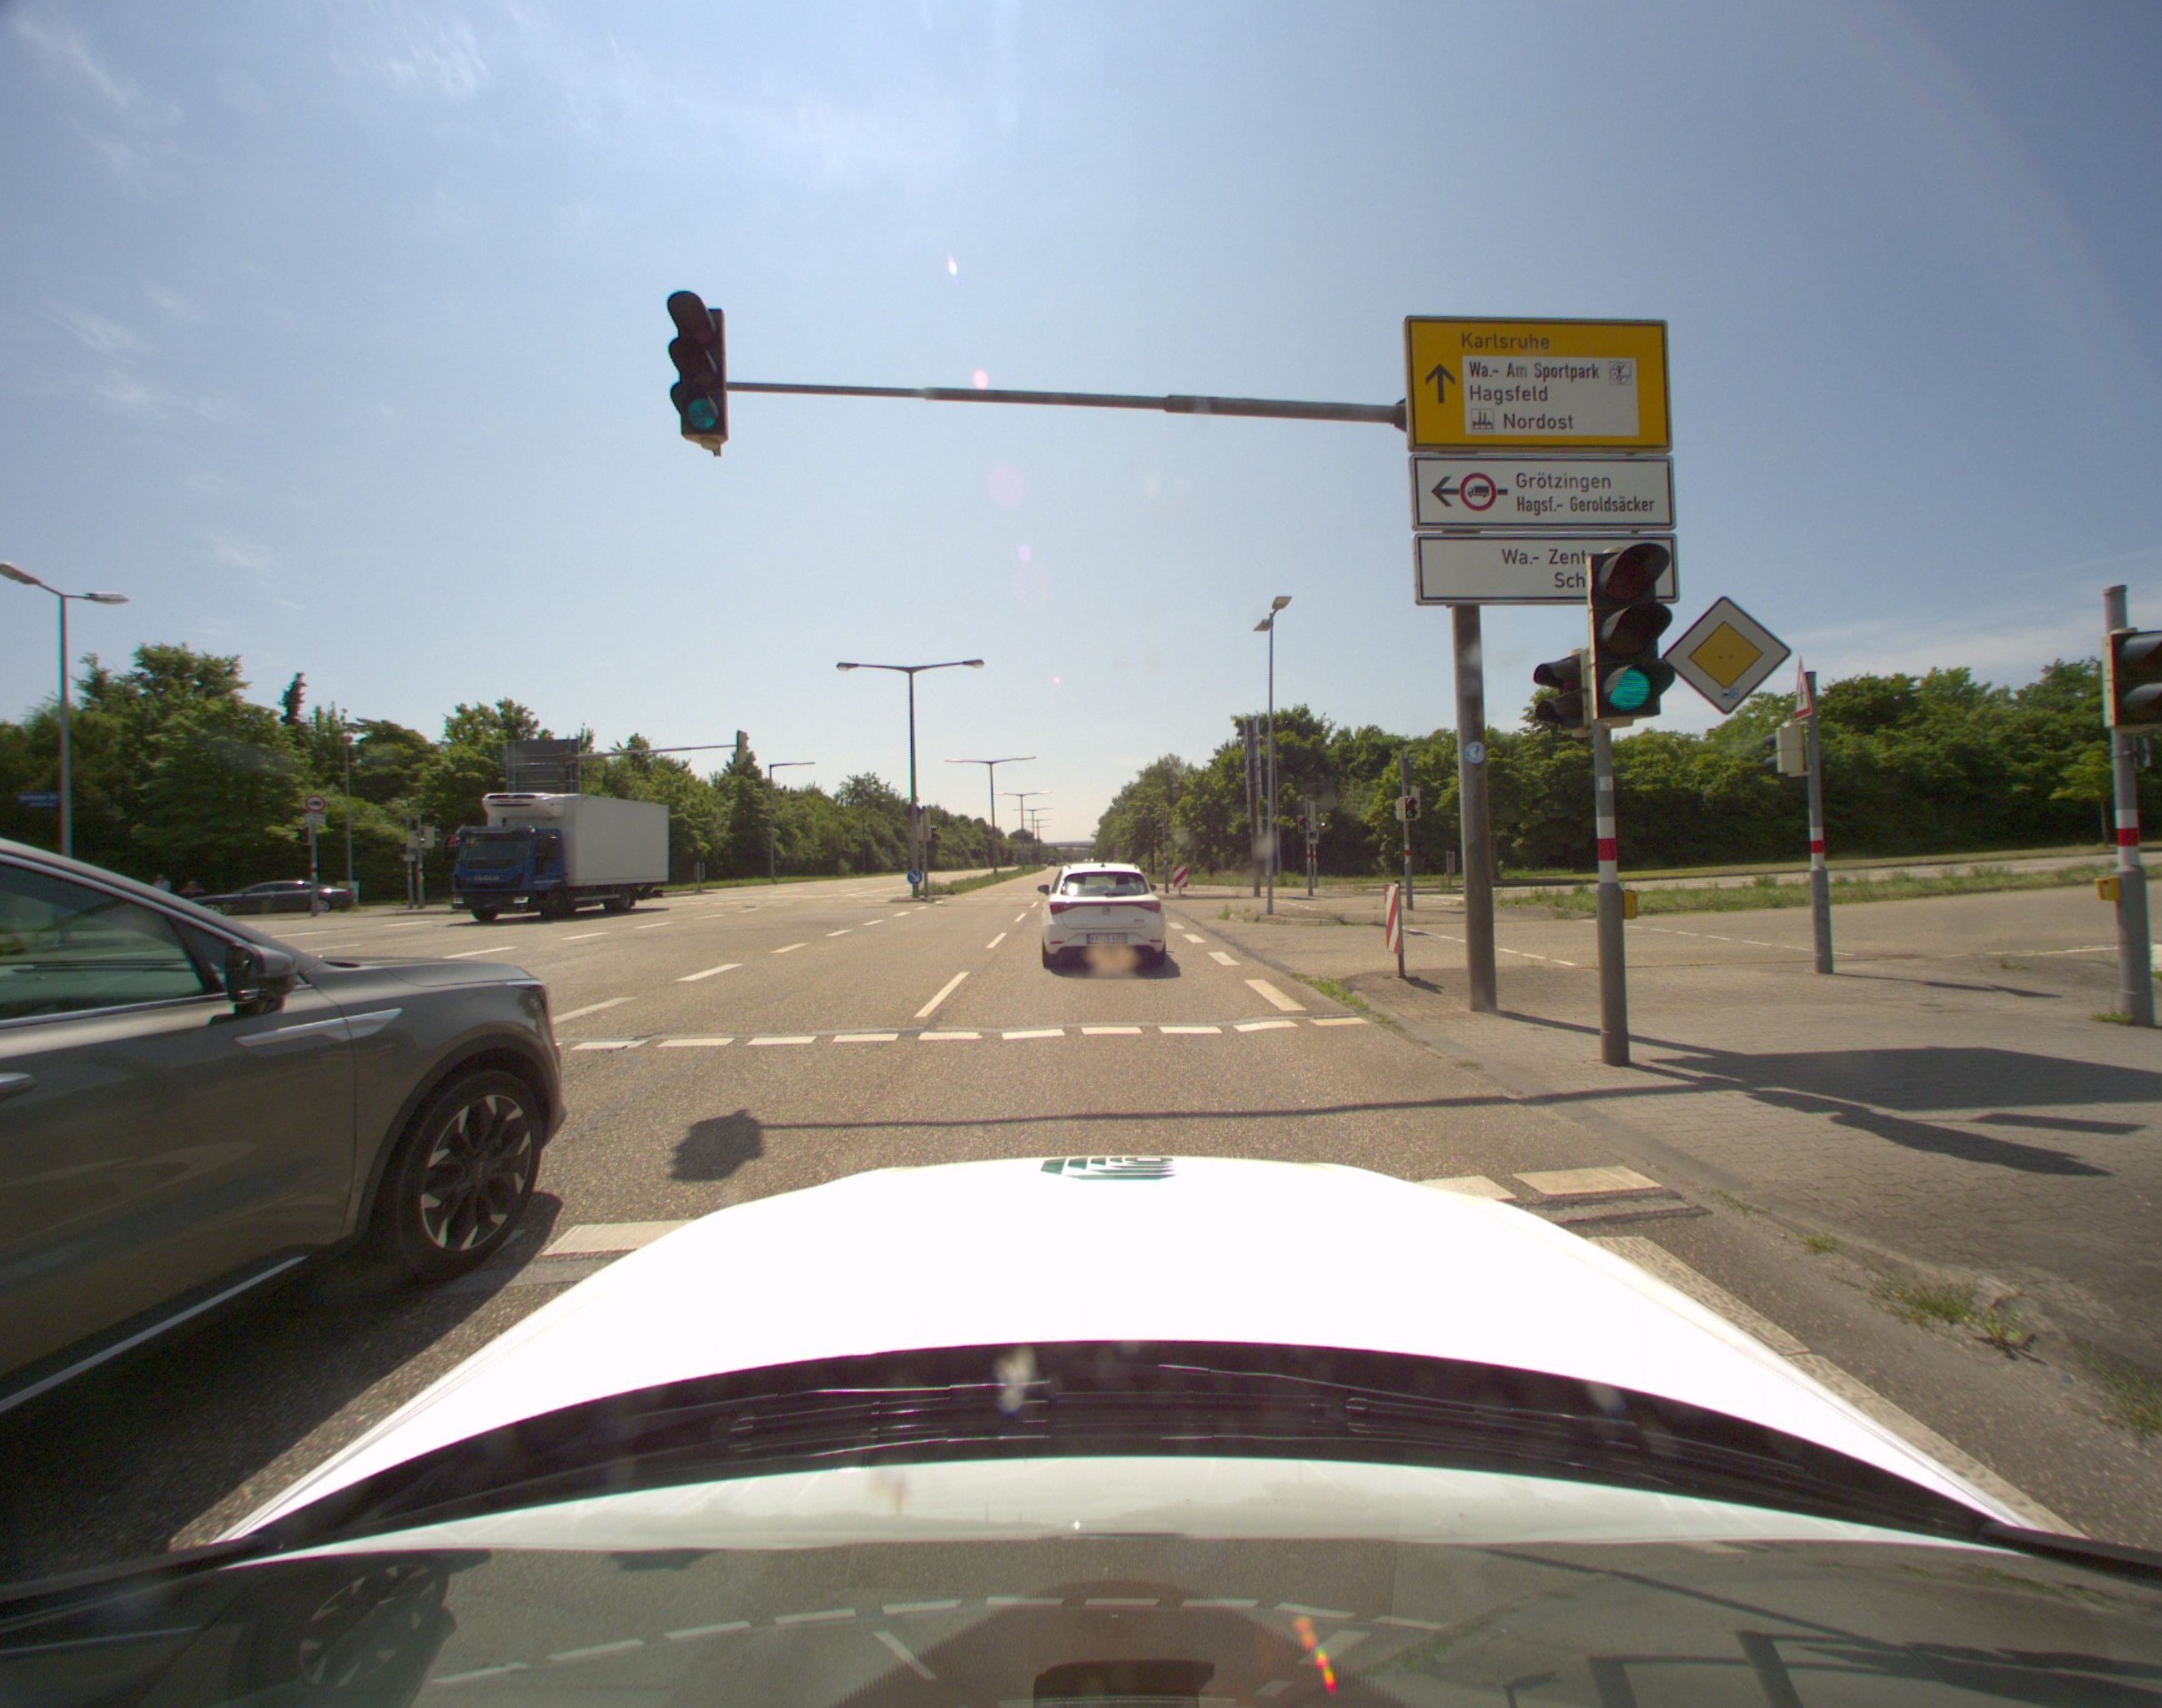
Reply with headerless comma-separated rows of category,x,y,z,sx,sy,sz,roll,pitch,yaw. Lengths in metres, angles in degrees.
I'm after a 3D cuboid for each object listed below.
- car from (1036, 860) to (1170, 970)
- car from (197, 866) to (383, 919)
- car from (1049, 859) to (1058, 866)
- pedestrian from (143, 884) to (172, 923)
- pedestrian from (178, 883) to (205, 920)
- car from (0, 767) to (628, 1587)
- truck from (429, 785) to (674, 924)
car,0.304,0.822,12.407,1.728,1.428,3.694,0,-1,0
car,-30.416,1.421,31.480,1.805,1.732,4.957,-2,0,39
car,-6.934,2.196,202.617,1.847,1.709,4.002,-2,0,2
pedestrian,-38.788,2.062,34.211,0.620,1.603,0.790,-1,-1,-36
pedestrian,-37.951,2.007,34.758,0.620,1.504,0.790,-1,-1,-36
car,-3.105,0.672,1.572,1.798,1.662,4.644,-1,-1,0
truck,-15.608,0.036,24.843,2.679,3.570,7.266,-1,0,0
